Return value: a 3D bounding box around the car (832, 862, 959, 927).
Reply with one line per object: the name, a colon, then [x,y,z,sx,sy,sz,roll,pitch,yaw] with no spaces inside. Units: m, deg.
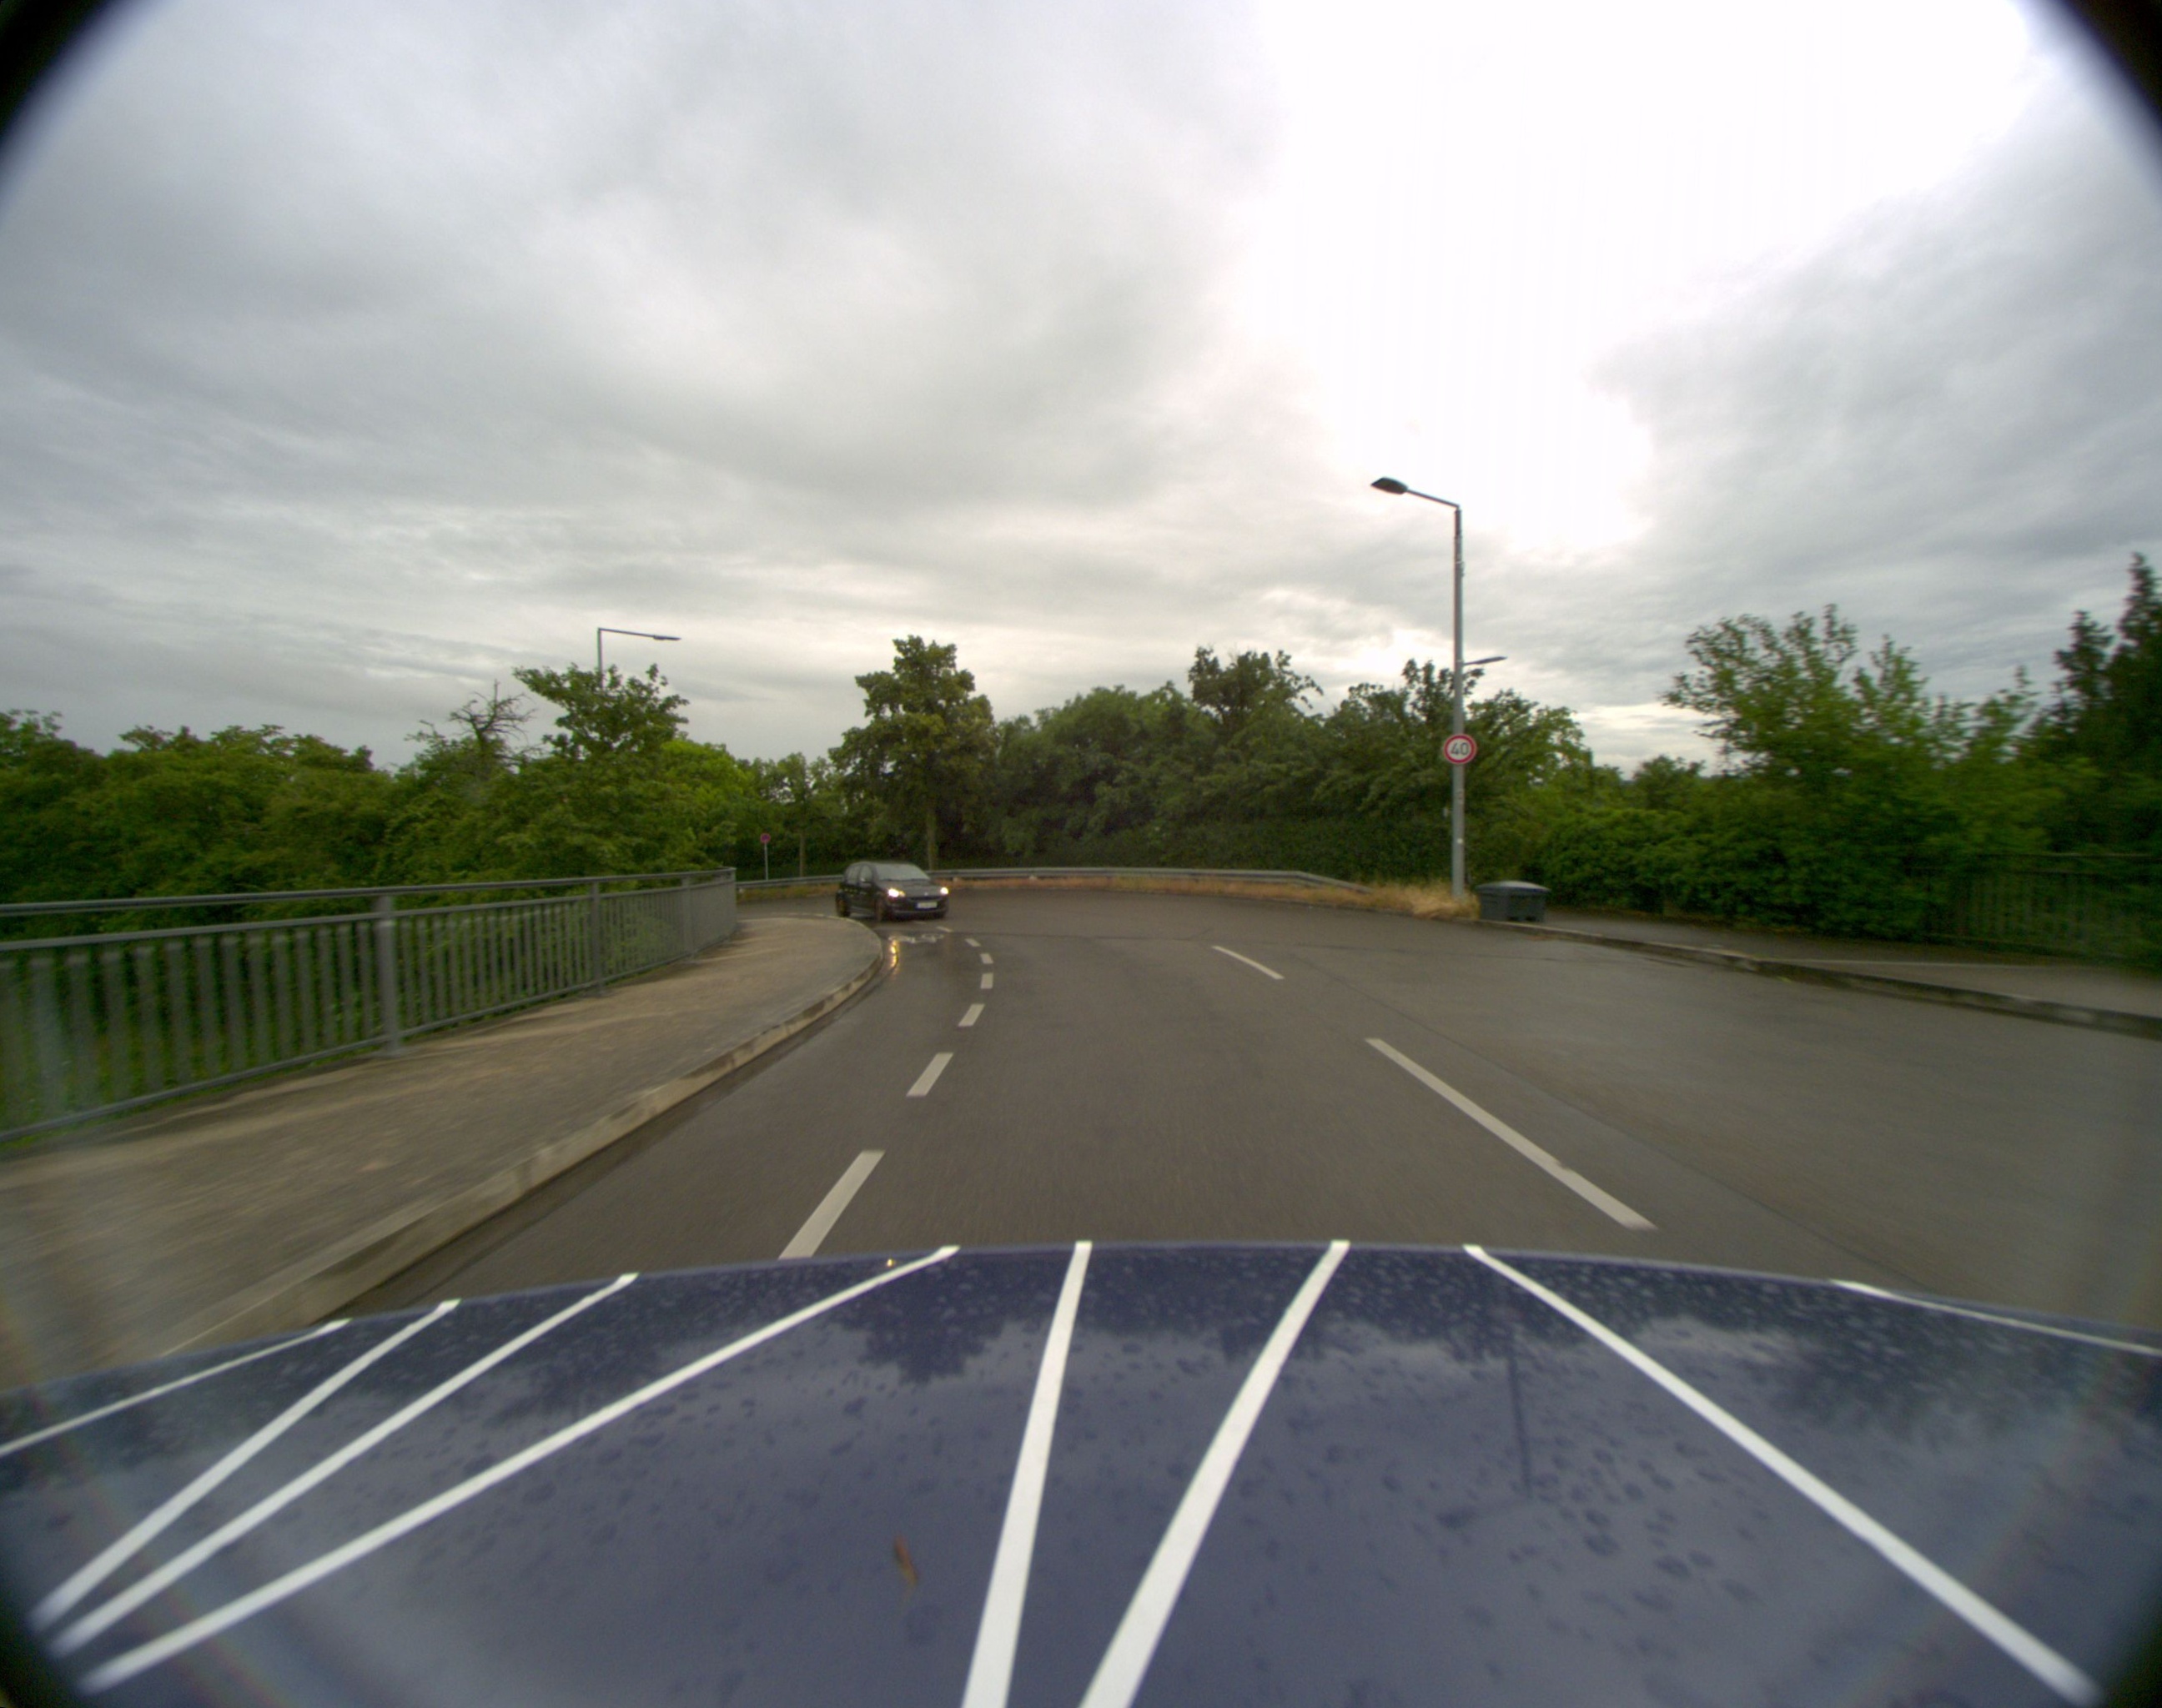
car: [-4.702,0.931,18.982,1.685,1.405,3.627,-2,1,-38]
